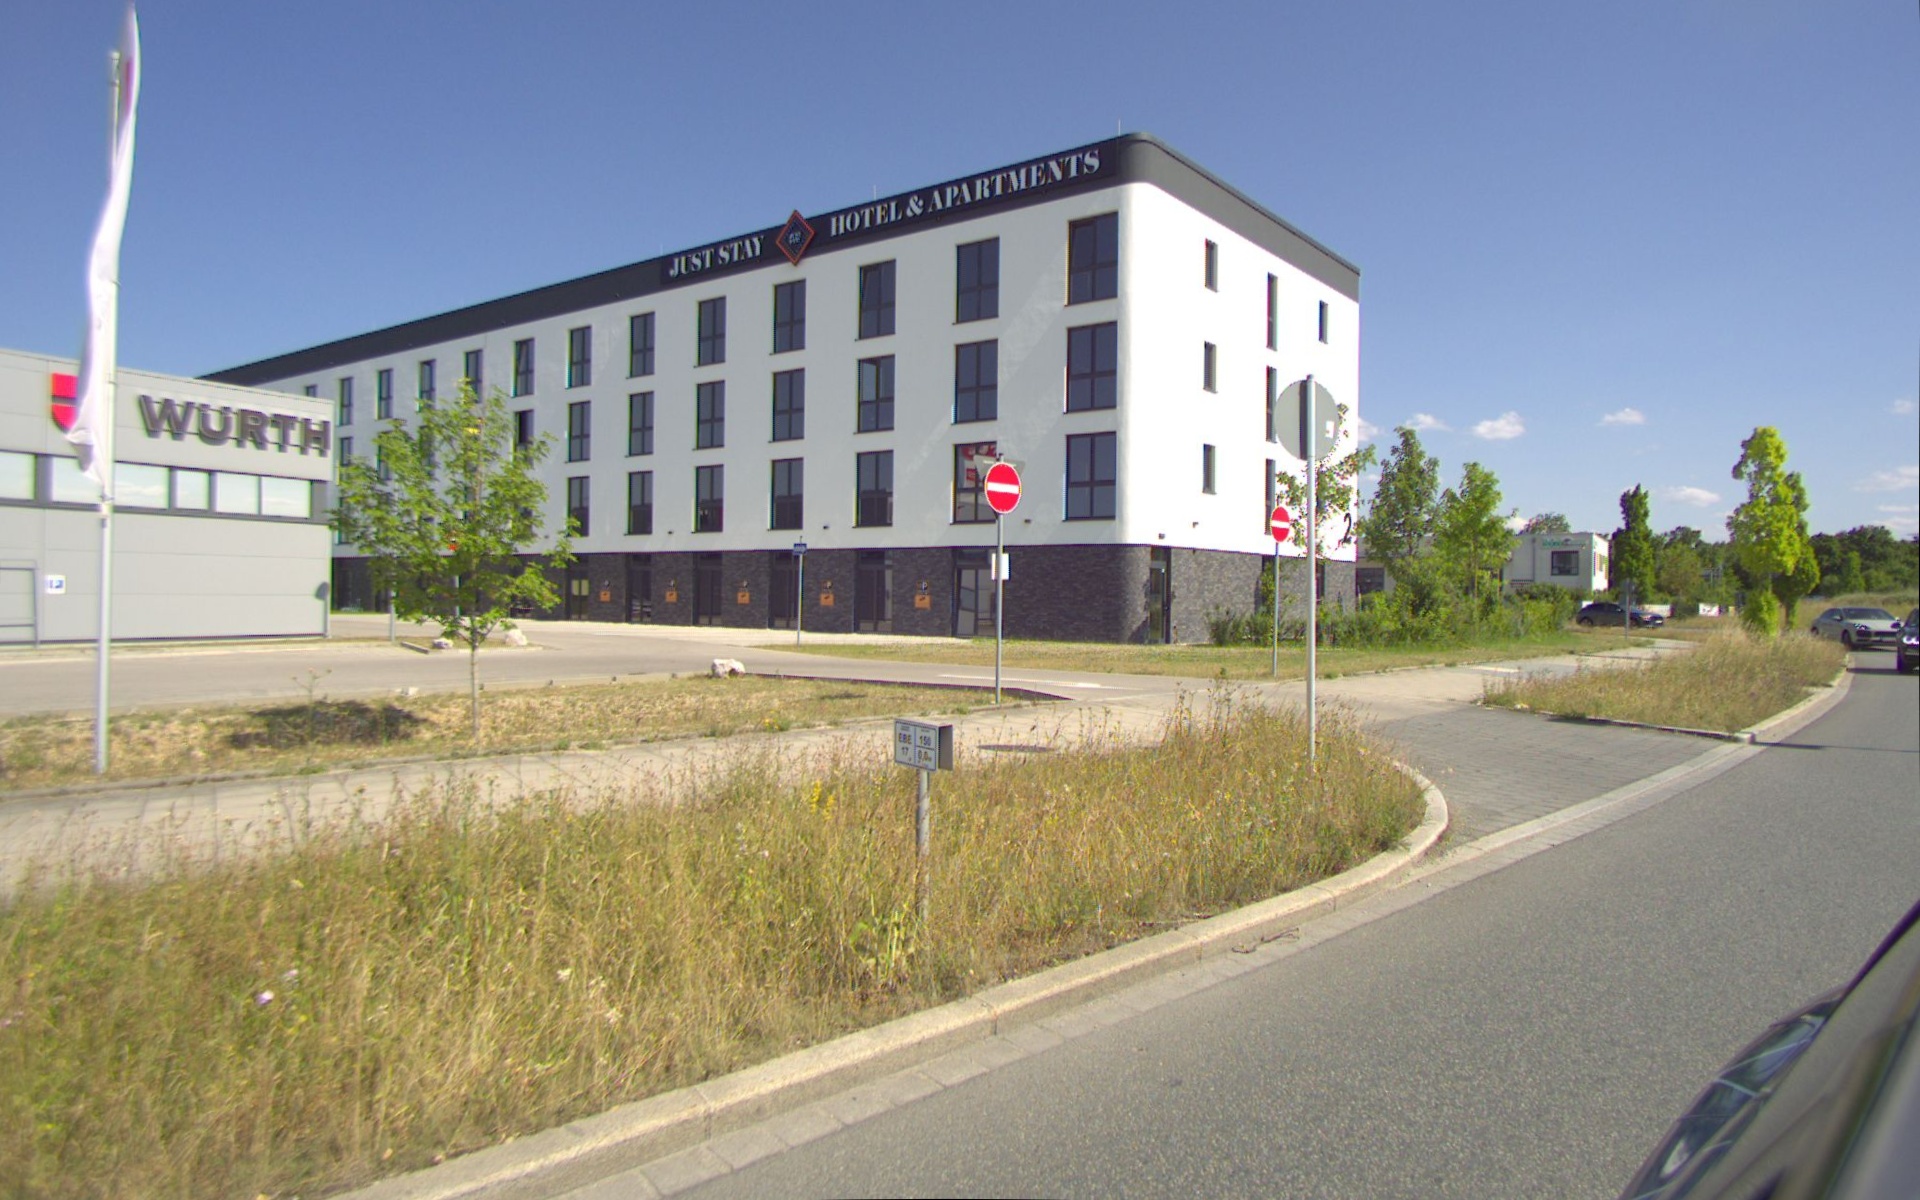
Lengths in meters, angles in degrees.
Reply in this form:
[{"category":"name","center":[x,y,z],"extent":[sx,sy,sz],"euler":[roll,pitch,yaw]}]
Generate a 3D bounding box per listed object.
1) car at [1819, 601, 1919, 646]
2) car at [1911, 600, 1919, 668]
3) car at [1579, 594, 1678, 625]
[{"category":"car","center":[36.234,0.889,40.239],"extent":[1.820,1.593,4.368],"euler":[0,1,21]},{"category":"car","center":[24.352,0.804,24.521],"extent":[1.836,1.594,3.937],"euler":[-1,-1,43]},{"category":"car","center":[37.652,0.480,57.112],"extent":[1.804,1.593,4.407],"euler":[-1,1,-23]}]
